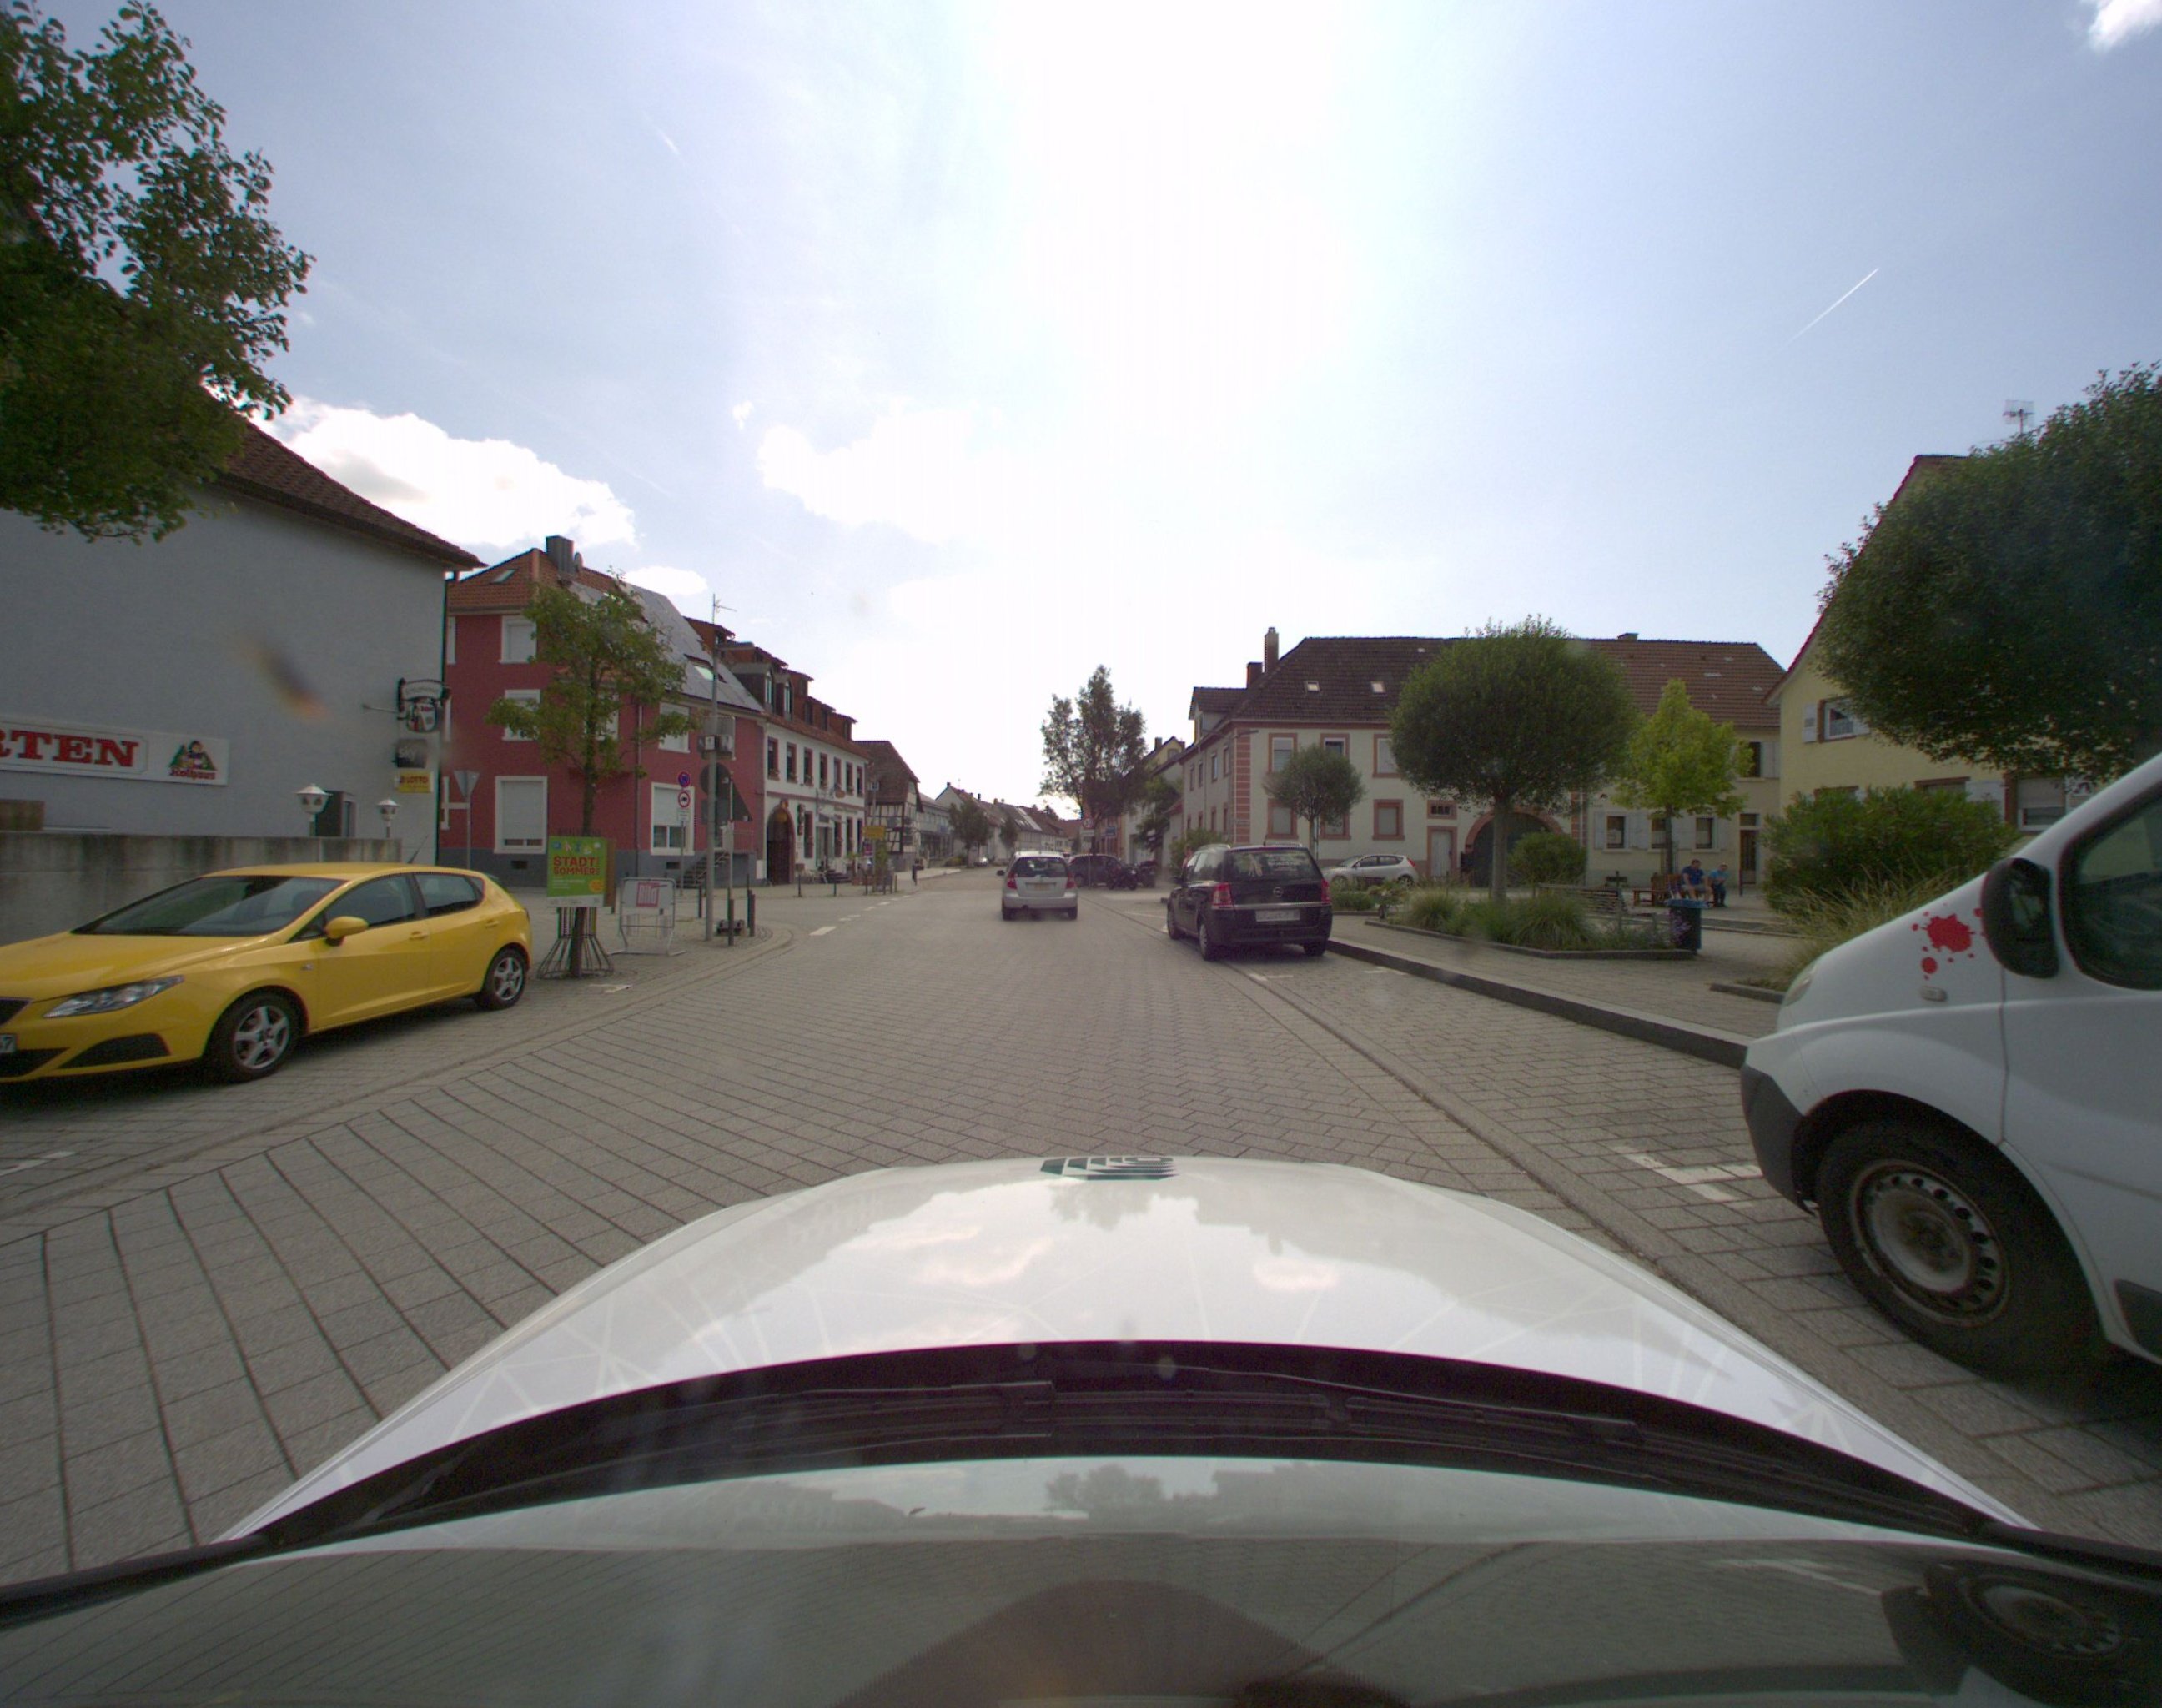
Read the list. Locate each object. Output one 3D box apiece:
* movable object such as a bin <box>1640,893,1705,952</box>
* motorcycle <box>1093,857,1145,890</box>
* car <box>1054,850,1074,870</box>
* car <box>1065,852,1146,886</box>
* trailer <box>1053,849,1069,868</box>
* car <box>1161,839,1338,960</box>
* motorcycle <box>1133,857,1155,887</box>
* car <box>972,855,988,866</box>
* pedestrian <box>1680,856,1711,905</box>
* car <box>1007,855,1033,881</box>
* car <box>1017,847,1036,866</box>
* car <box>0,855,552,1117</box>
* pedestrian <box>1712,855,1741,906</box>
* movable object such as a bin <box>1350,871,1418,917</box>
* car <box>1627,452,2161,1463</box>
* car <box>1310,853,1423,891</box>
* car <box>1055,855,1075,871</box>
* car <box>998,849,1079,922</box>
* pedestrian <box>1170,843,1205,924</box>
[{"bbox_3d":[7.748,0.894,10.676,0.563,0.733,0.391,0,0,-1],"label":"movable object such as a bin"},{"bbox_3d":[1.643,0.825,35.499,2.197,1.395,0.878,-1,-1,39],"label":"motorcycle"},{"bbox_3d":[-1.871,0.664,88.517,1.888,1.982,4.925,-2,0,-3],"label":"car"},{"bbox_3d":[1.220,0.728,41.209,3.845,1.577,1.846,-2,0,-7],"label":"car"},{"bbox_3d":[-2.526,0.575,103.208,1.841,2.354,3.584,-1,0,-4],"label":"trailer"},{"bbox_3d":[2.409,0.593,12.765,1.764,1.564,4.415,0,0,-1],"label":"car"},{"bbox_3d":[2.951,0.819,37.976,0.955,1.298,2.228,-2,0,4],"label":"motorcycle"},{"bbox_3d":[-14.292,0.912,115.243,1.798,1.460,4.158,1,0,0],"label":"car"},{"bbox_3d":[16.392,0.696,21.742,0.606,1.284,0.677,-2,-1,36],"label":"pedestrian"},{"bbox_3d":[-4.808,1.117,64.894,1.764,1.888,4.443,3,-1,-2],"label":"car"},{"bbox_3d":[-6.691,0.346,100.693,2.231,2.222,3.995,-1,-1,-3],"label":"car"},{"bbox_3d":[-6.374,0.752,6.579,1.663,1.474,3.961,0,0,-1],"label":"car"},{"bbox_3d":[16.952,0.688,21.387,0.530,1.284,0.795,-2,-1,36],"label":"pedestrian"},{"bbox_3d":[6.093,0.788,16.434,0.734,0.866,1.433,1,-1,-6],"label":"movable object such as a bin"},{"bbox_3d":[3.336,0.203,0.809,1.938,2.177,5.095,-2,0,-3],"label":"car"},{"bbox_3d":[11.472,0.719,32.936,3.978,1.473,1.826,0,0,1],"label":"car"},{"bbox_3d":[-1.606,0.870,80.508,1.771,1.495,4.157,0,0,-3],"label":"car"},{"bbox_3d":[-1.162,0.702,20.353,1.767,1.594,3.991,-1,0,-7],"label":"car"},{"bbox_3d":[2.191,0.598,16.864,0.637,1.629,0.620,0,-1,-1],"label":"pedestrian"}]
